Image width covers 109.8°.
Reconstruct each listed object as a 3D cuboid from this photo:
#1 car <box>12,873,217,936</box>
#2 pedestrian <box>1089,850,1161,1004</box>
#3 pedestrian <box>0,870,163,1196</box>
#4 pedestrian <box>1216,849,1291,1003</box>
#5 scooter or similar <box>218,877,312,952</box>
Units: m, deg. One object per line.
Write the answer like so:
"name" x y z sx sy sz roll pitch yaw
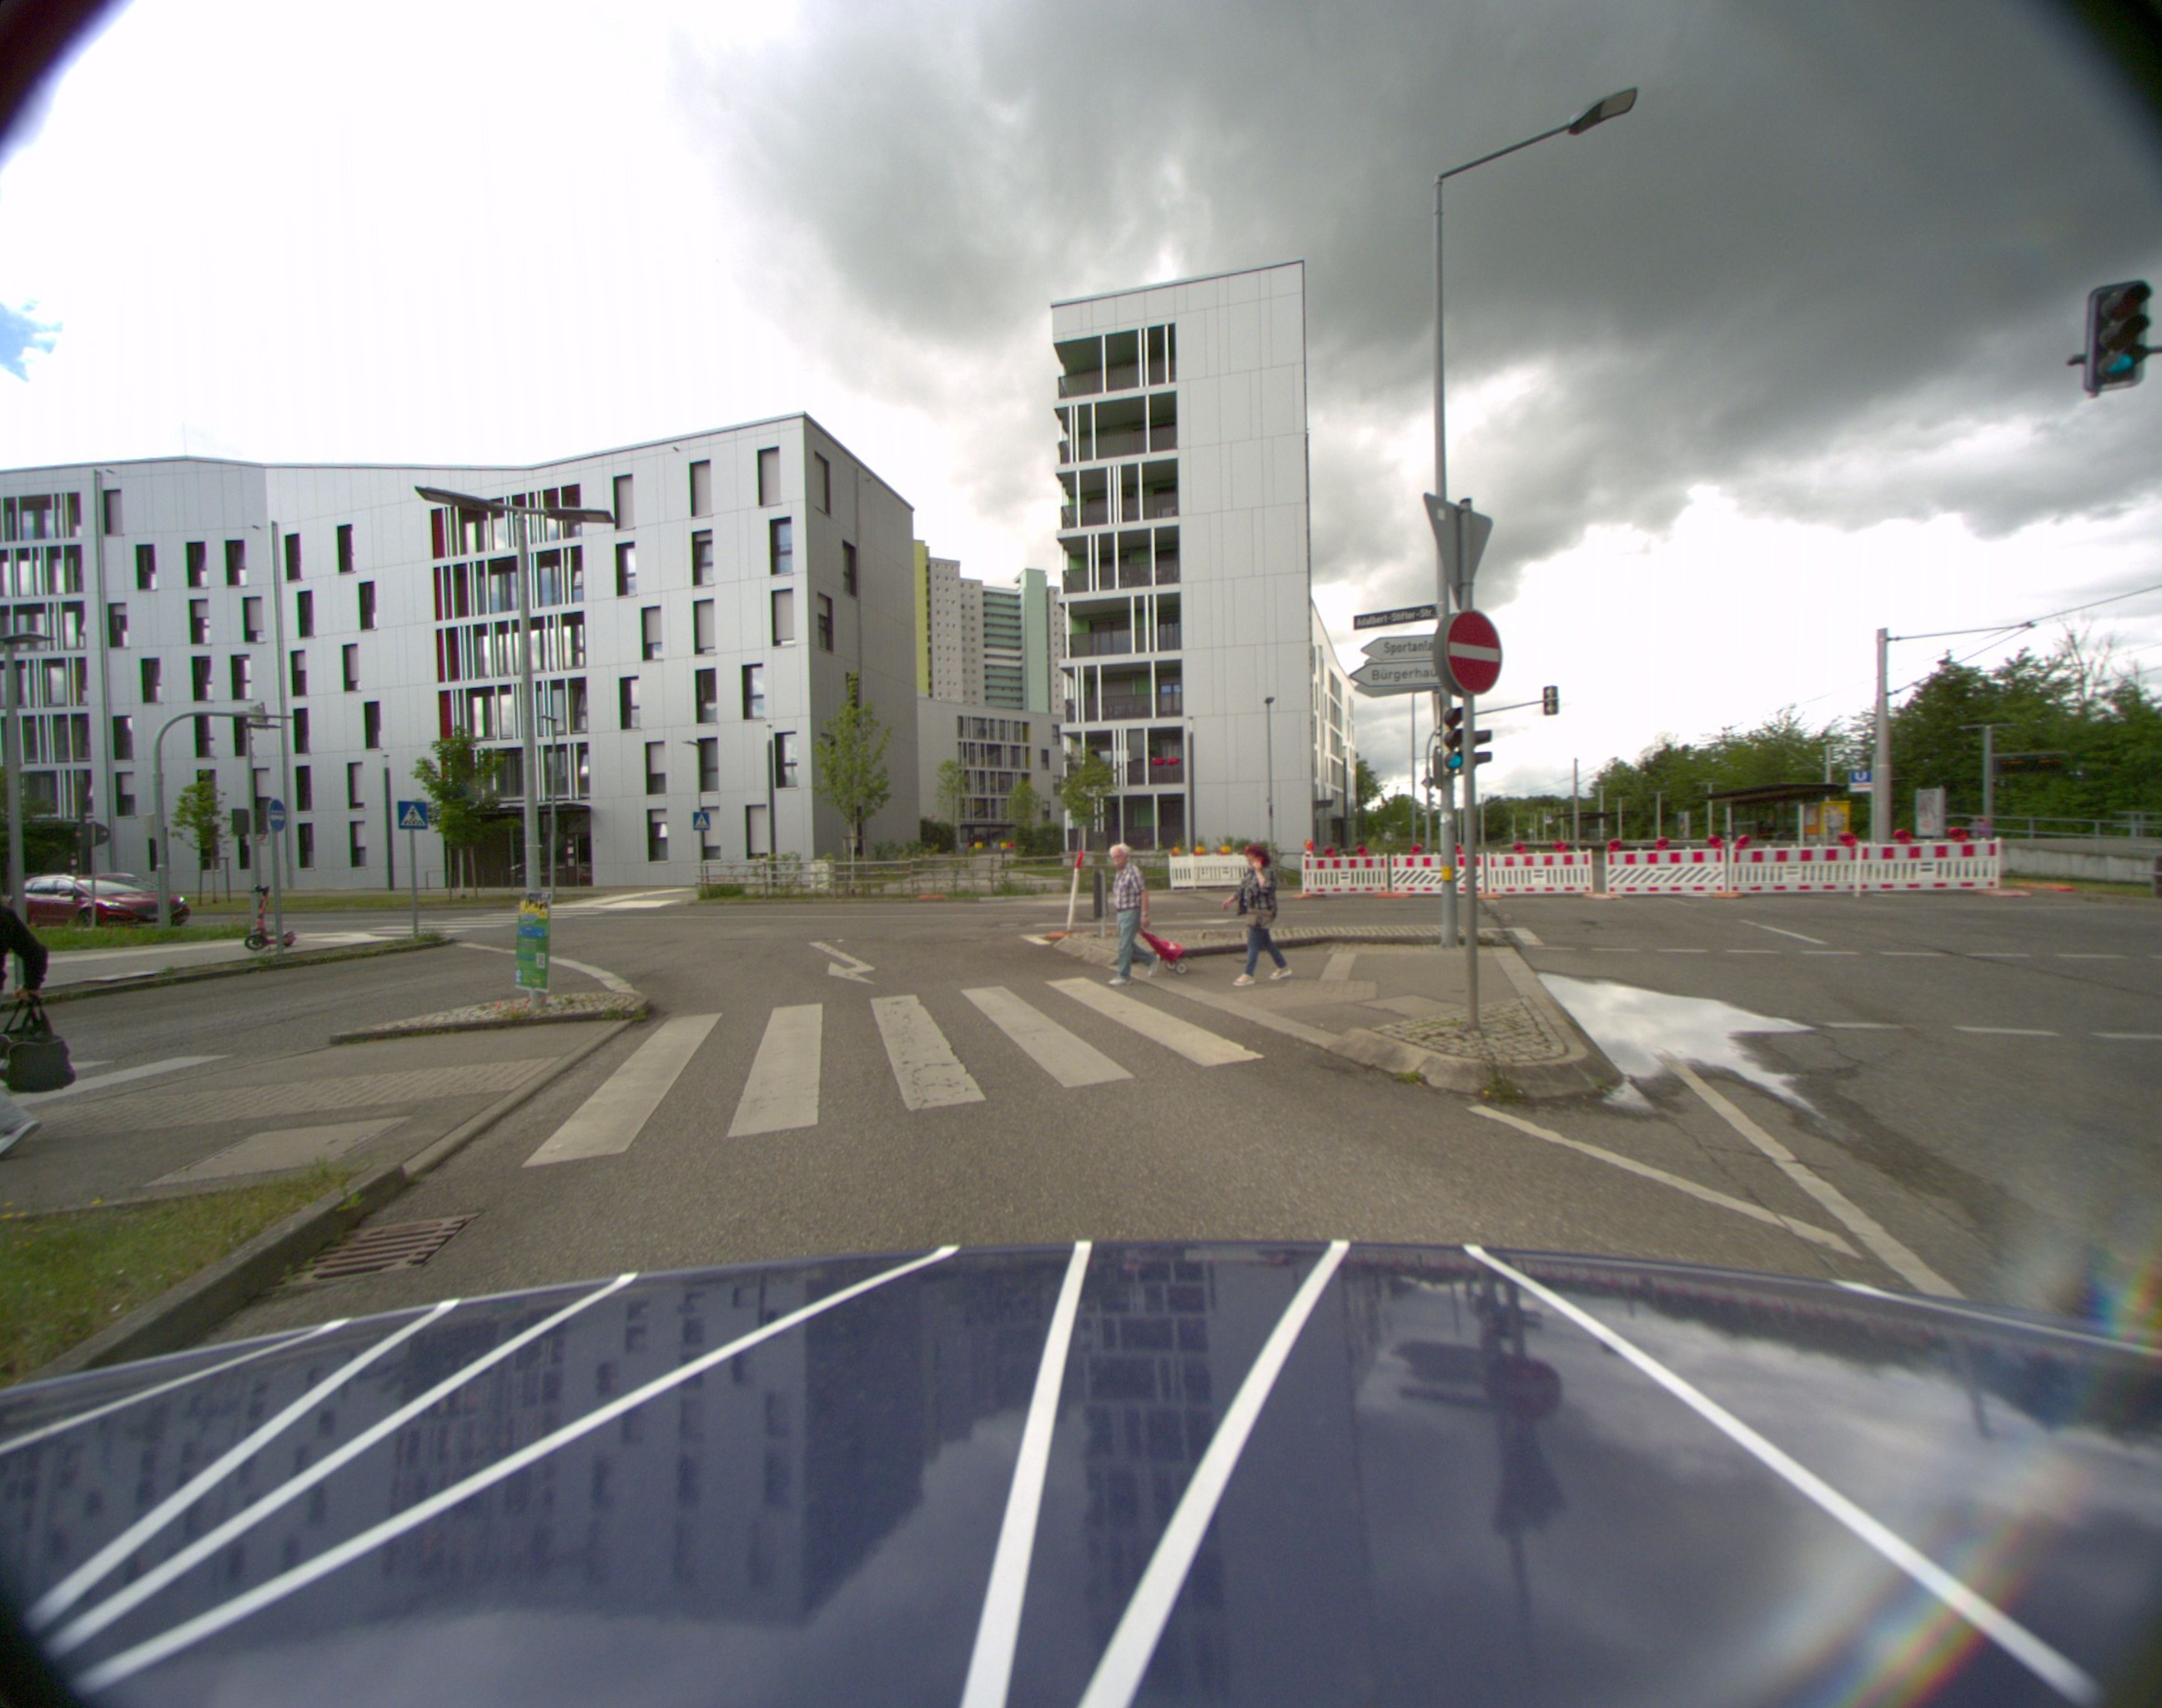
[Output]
"car" -28.424 1.455 22.408 4.235 1.623 1.935 -1 3 12
"pedestrian" 0.512 0.797 8.571 0.722 1.625 0.699 -2 3 6
"pedestrian" -6.420 0.996 4.339 1.061 1.737 0.957 -2 2 -2
"pedestrian" 1.836 0.743 8.133 0.731 1.558 0.693 -1 2 11
"scooter or similar" -15.962 1.152 14.908 0.573 1.306 1.523 -2 2 -20
